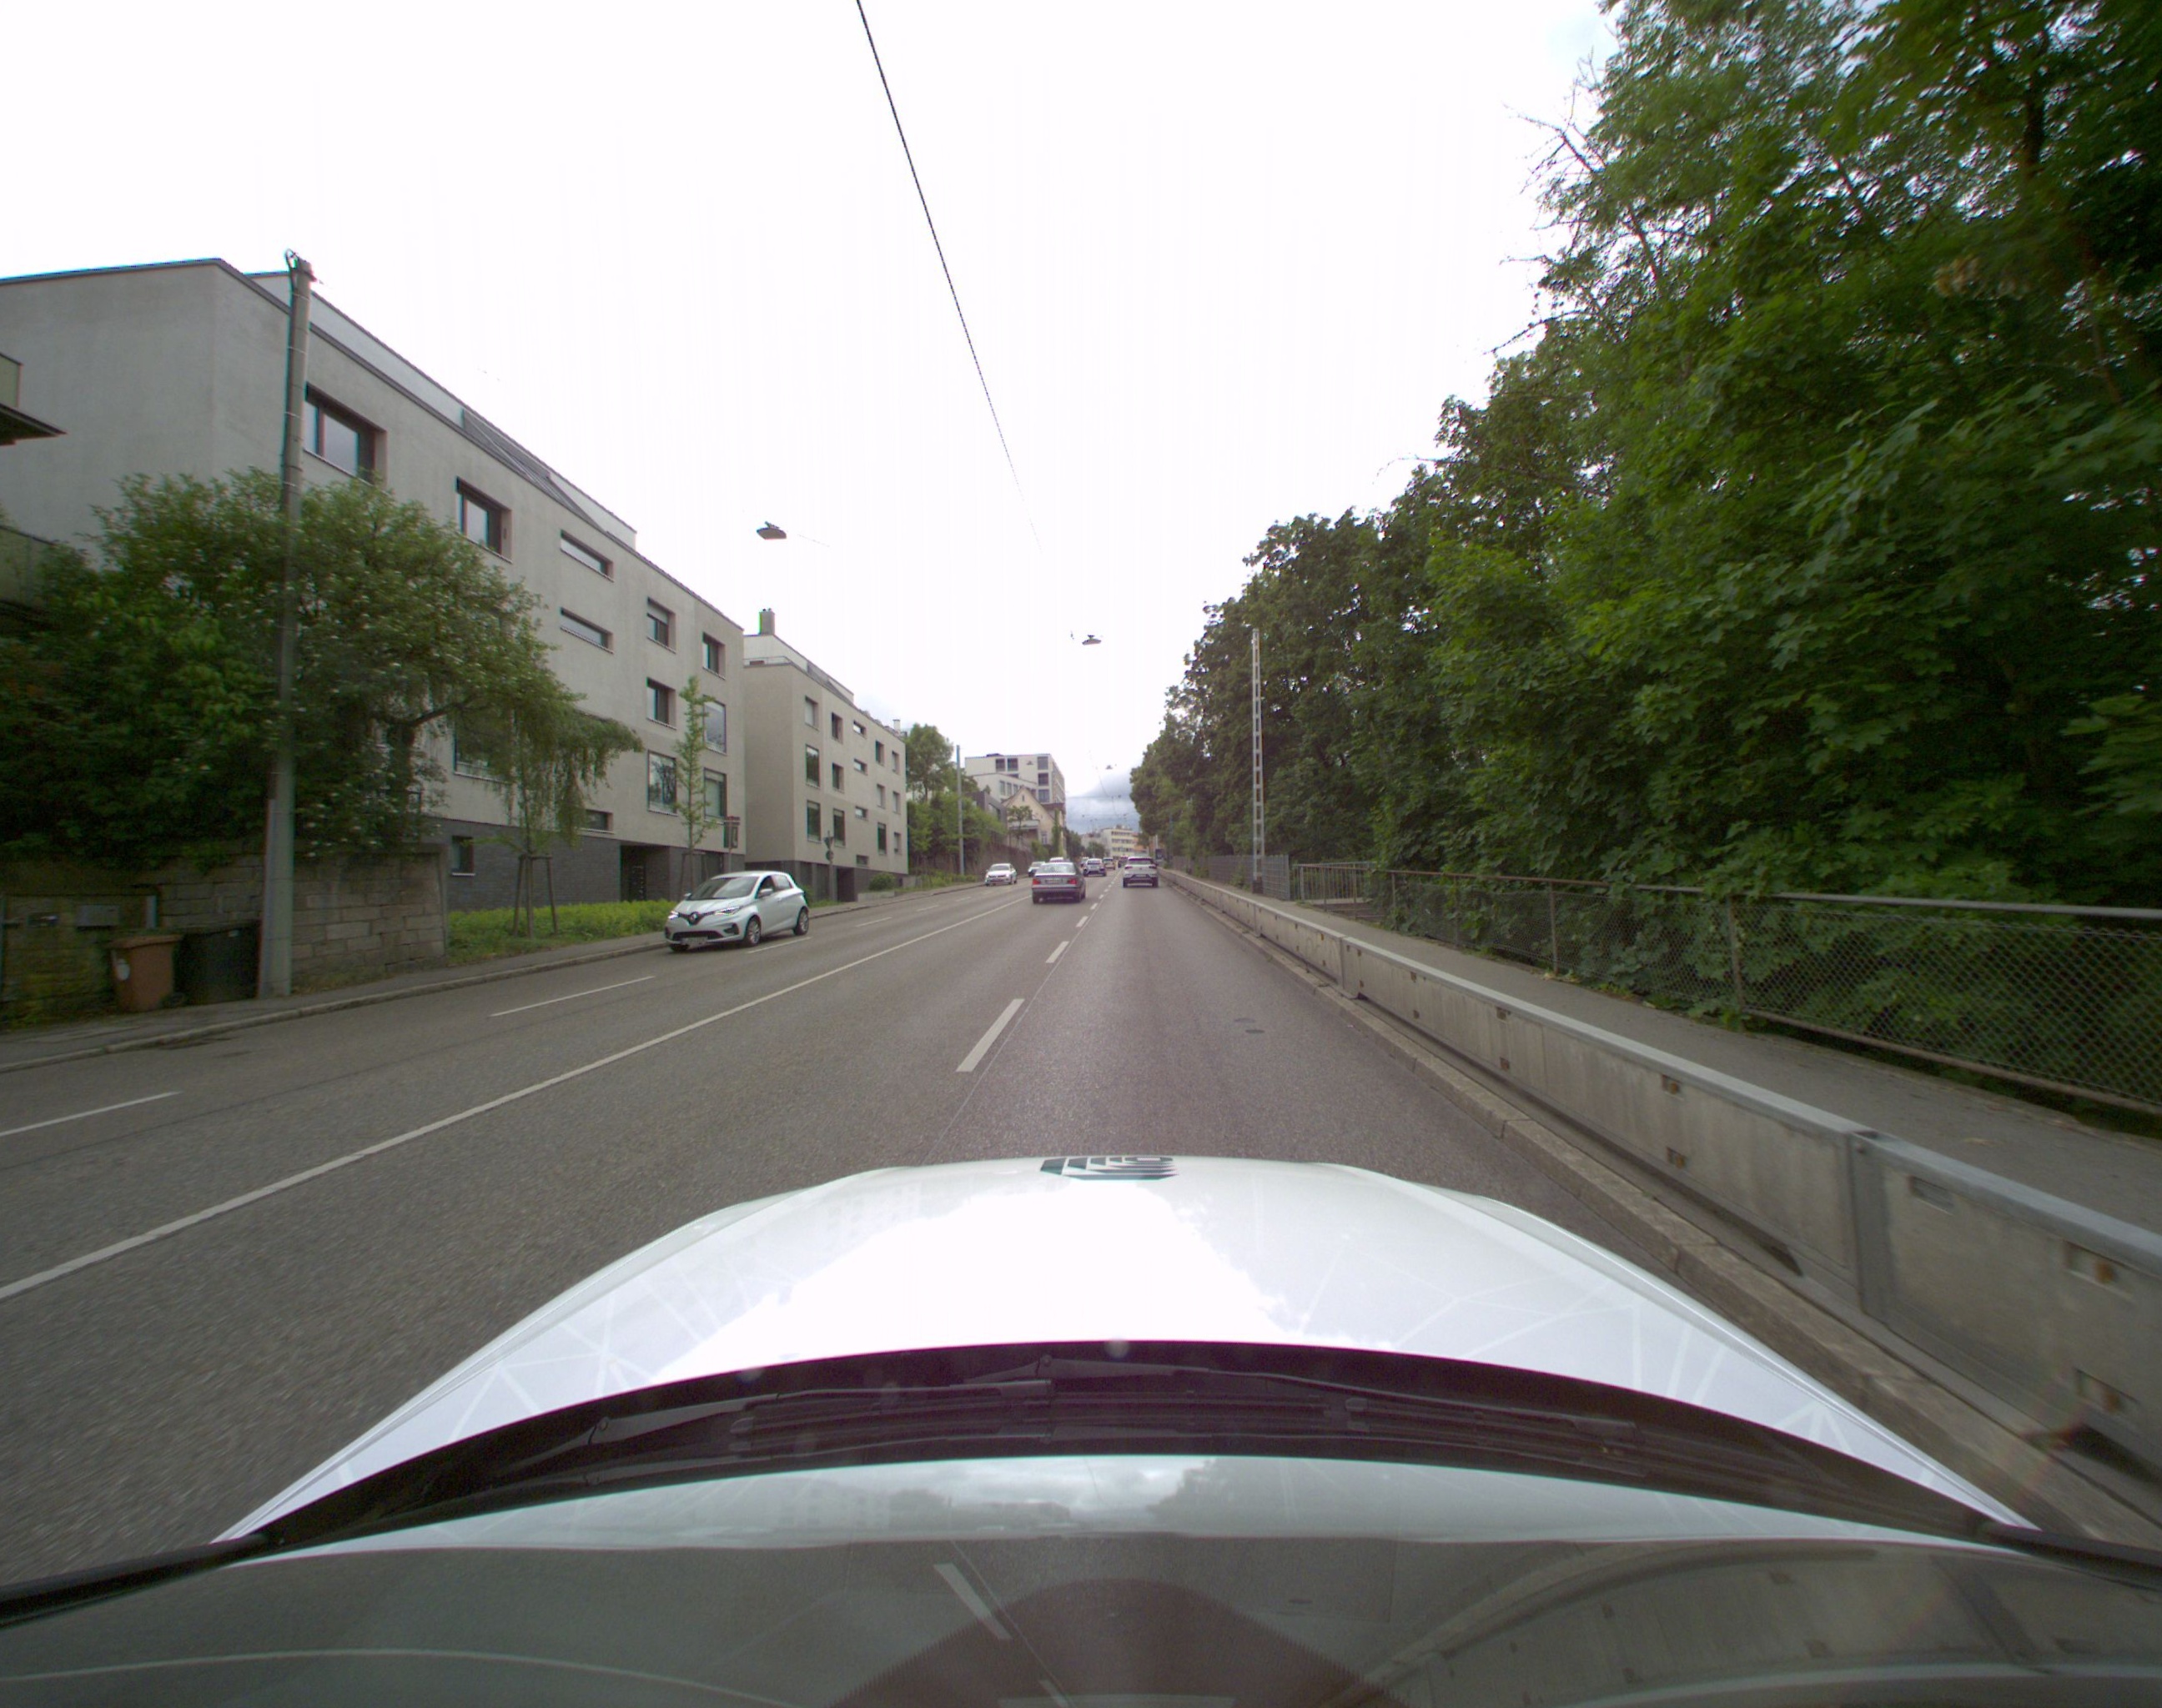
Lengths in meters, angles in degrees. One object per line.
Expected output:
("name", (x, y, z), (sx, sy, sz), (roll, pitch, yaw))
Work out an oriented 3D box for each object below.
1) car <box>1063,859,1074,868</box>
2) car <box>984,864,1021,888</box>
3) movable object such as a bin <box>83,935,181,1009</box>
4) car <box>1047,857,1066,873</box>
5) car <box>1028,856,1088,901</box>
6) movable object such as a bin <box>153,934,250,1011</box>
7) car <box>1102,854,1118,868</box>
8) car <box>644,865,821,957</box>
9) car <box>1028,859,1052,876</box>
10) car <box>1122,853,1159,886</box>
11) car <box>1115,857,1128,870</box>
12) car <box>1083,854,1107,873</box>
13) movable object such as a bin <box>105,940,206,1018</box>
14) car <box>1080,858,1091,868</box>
("car", (-2.302, 1.759, 150.825), (1.987, 1.701, 3.999), (0, 0, 0))
("car", (-5.313, 1.467, 55.585), (1.765, 1.464, 4.195), (-3, 0, 3))
("movable object such as a bin", (-12.422, 1.530, 10.679), (0.568, 0.885, 0.607), (1, -1, -13))
("car", (-2.884, 1.278, 95.759), (1.725, 1.788, 4.871), (-3, -1, 4))
("car", (-0.732, 0.841, 28.711), (1.699, 1.464, 4.004), (-1, -1, 4))
("movable object such as a bin", (-11.221, 1.498, 10.411), (0.568, 0.885, 0.607), (1, -1, -13))
("car", (3.461, 0.804, 95.534), (1.699, 1.464, 4.004), (-2, 0, 4))
("car", (-7.404, 1.132, 17.783), (1.736, 1.613, 4.061), (-4, 0, 5))
("car", (-3.938, 1.290, 79.060), (1.725, 1.464, 4.428), (-3, -1, 4))
("car", (3.007, 0.776, 41.800), (1.773, 1.579, 4.002), (-1, -1, 2))
("car", (5.675, 1.354, 113.202), (1.649, 1.765, 3.290), (-1, -1, 4))
("car", (1.169, 0.791, 66.473), (1.699, 1.464, 4.004), (-2, 0, 4))
("movable object such as a bin", (-11.651, 1.555, 10.267), (0.568, 0.885, 0.607), (1, -1, -13))
("car", (0.930, 1.664, 154.304), (1.808, 1.784, 4.499), (-1, 0, 4))
